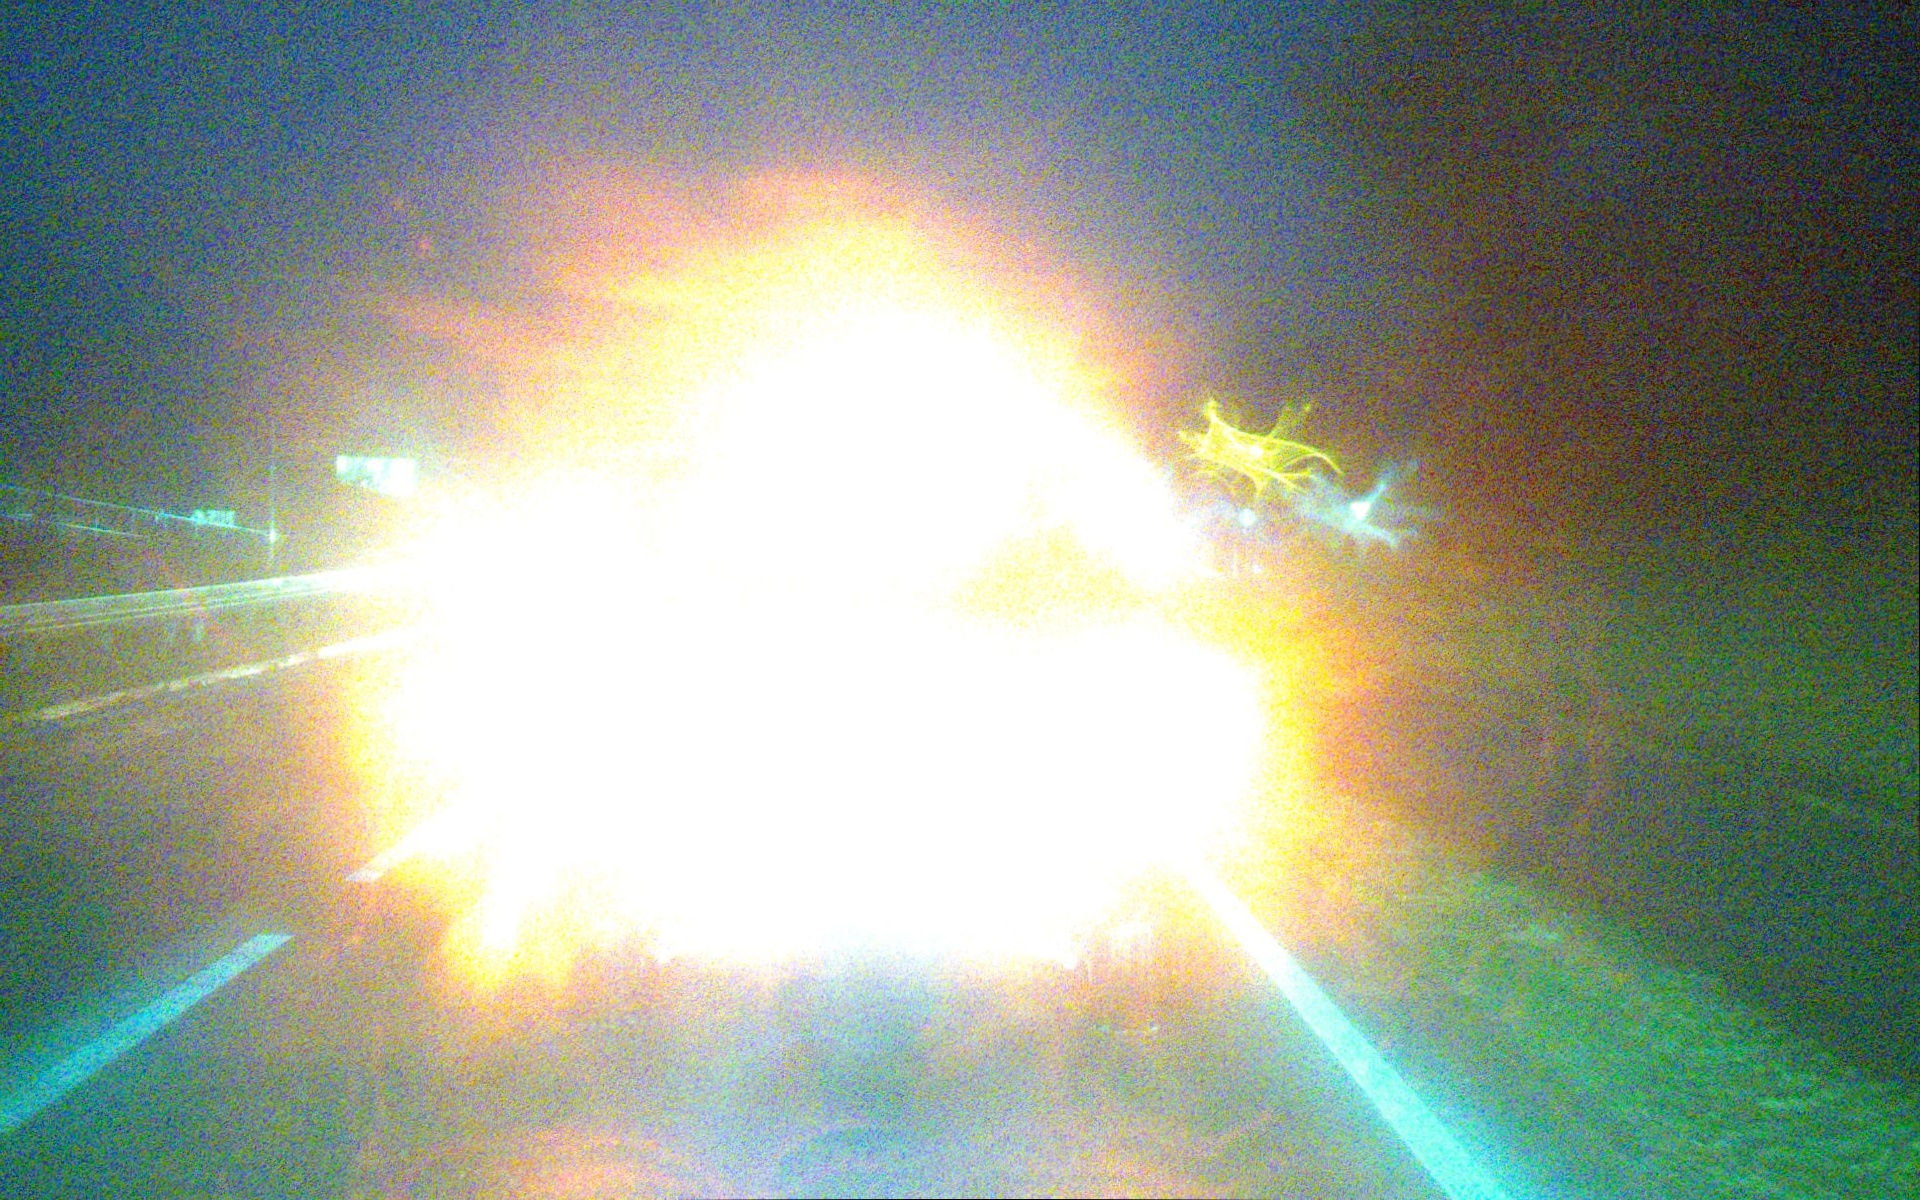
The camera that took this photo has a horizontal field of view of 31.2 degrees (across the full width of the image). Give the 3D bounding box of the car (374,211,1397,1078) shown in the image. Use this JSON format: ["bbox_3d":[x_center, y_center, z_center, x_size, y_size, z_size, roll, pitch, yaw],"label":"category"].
[{"bbox_3d":[-0.251,0.052,12.241,2.715,2.299,6.101,0,1,-1],"label":"car"}]

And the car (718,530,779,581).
[{"bbox_3d":[-6.466,-1.363,105.448,1.543,1.505,3.880,1,1,1],"label":"car"}]
